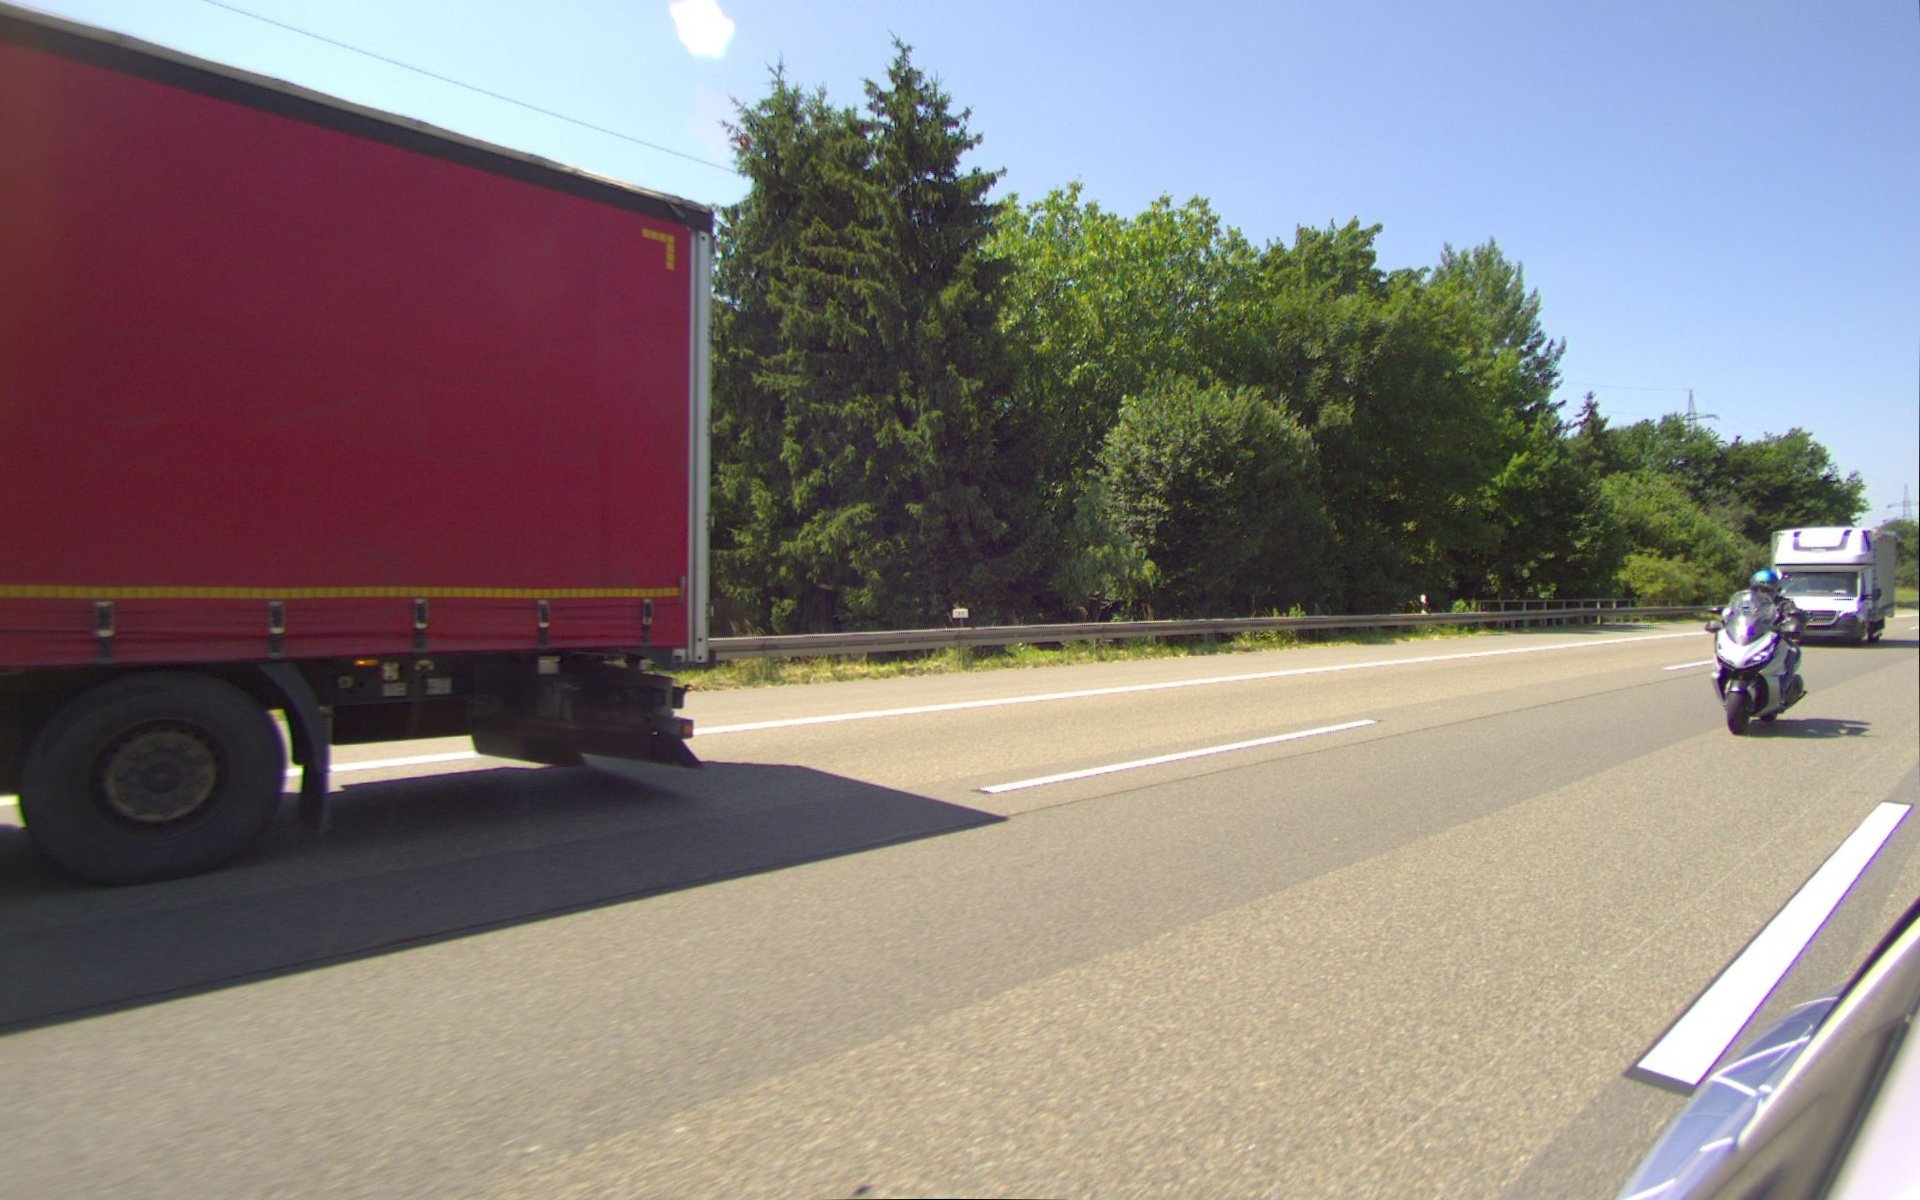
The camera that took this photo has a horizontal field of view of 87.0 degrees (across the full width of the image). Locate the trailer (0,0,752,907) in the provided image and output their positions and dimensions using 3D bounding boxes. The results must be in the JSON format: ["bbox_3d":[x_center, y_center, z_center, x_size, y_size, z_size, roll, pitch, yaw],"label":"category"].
[{"bbox_3d":[-7.048,-0.815,3.542,12.807,4.317,2.605,-1,0,-41],"label":"trailer"}]

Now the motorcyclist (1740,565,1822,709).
[{"bbox_3d":[9.071,0.390,11.186,0.504,1.527,0.613,0,0,-40],"label":"motorcyclist"}]

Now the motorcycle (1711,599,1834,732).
[{"bbox_3d":[8.907,0.656,11.056,2.272,1.303,0.630,0,0,-41],"label":"motorcycle"}]

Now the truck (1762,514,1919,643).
[{"bbox_3d":[25.999,-0.616,29.716,7.967,3.328,2.510,-1,1,-42],"label":"truck"}]
